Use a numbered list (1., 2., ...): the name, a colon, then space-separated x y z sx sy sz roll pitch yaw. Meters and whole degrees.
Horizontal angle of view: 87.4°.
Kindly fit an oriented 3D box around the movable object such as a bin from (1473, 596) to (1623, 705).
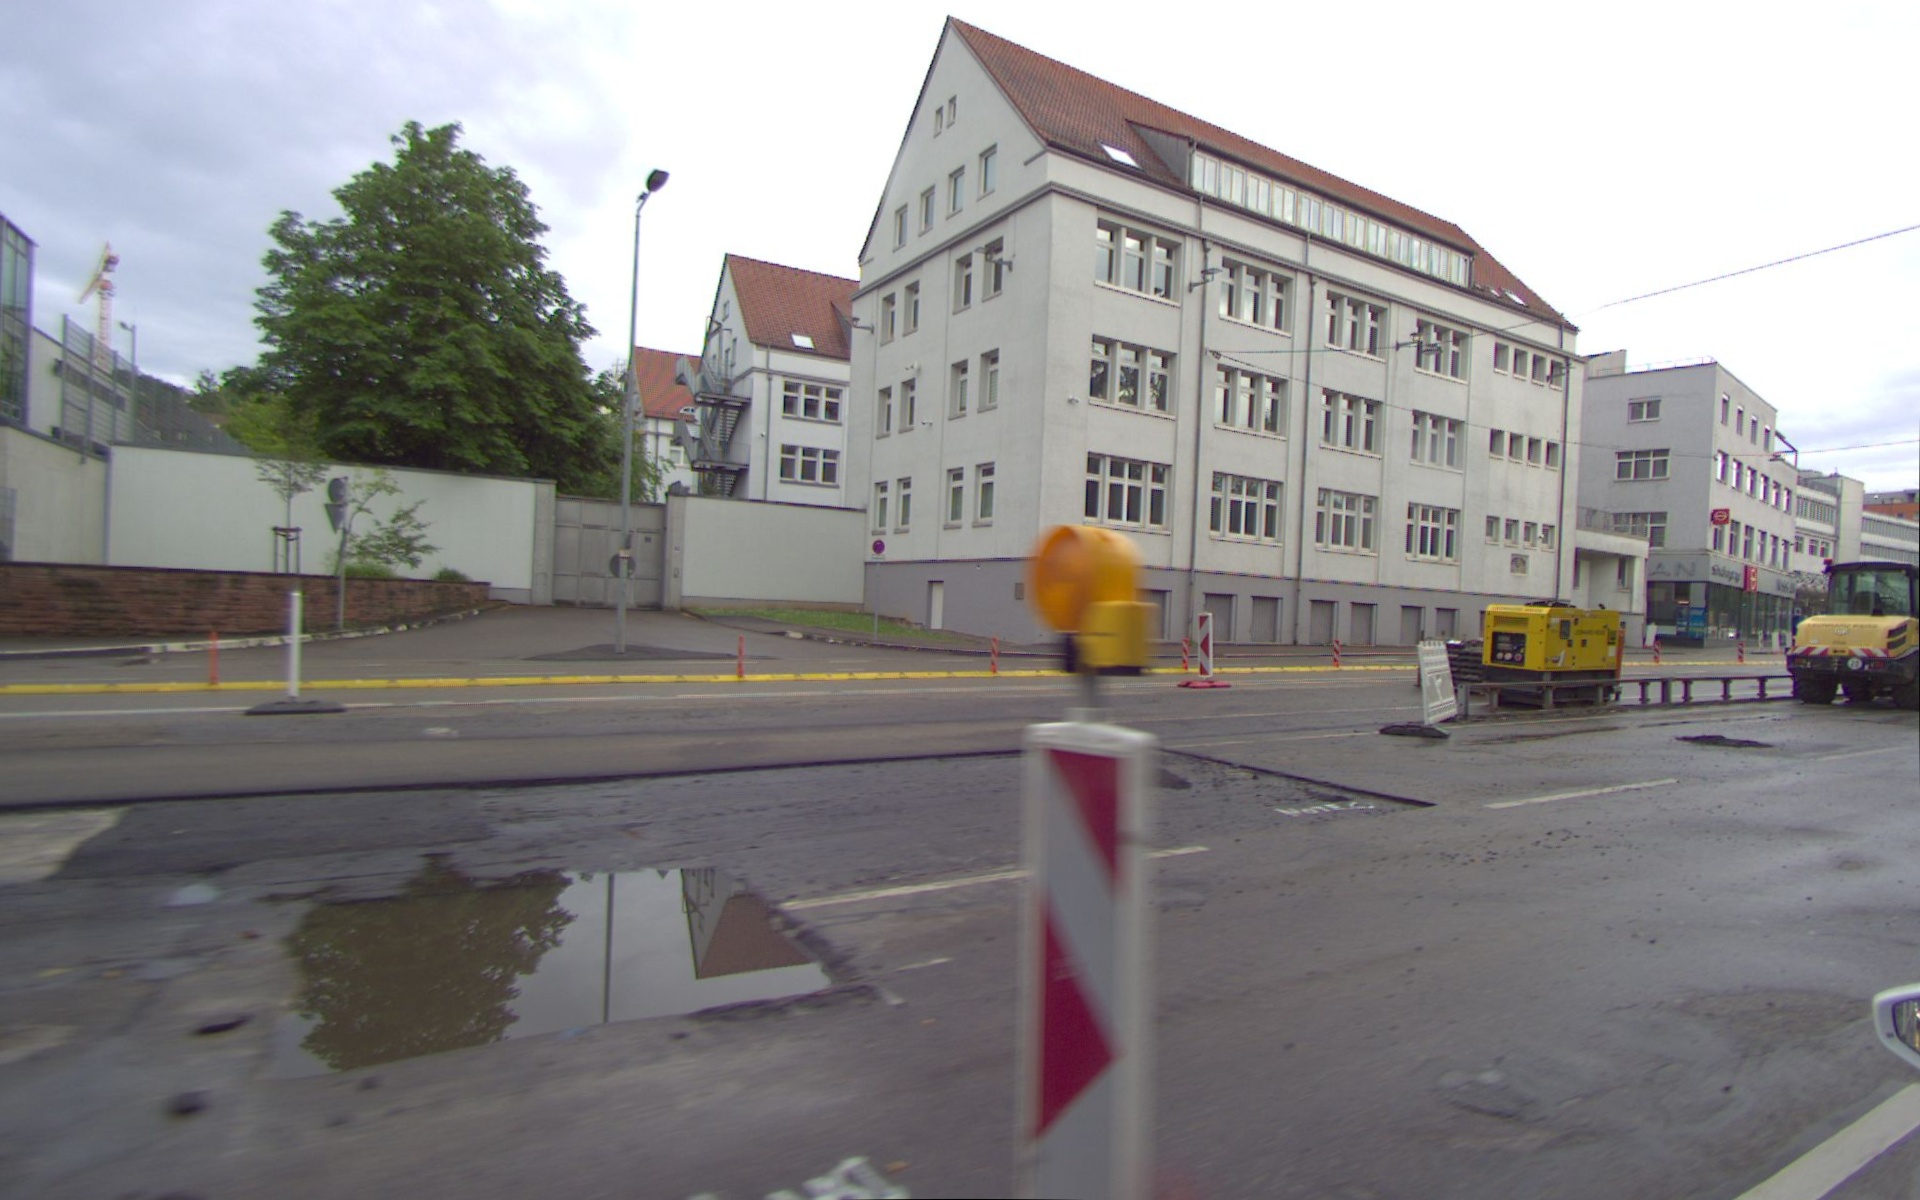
1. movable object such as a bin: 9.692 0.813 16.543 2.411 1.666 1.078 2 0 -31

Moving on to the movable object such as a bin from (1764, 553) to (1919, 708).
1. movable object such as a bin: 17.836 0.583 19.358 5.321 2.644 1.893 2 0 -31

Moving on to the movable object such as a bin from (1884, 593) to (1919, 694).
1. movable object such as a bin: 22.441 0.982 22.363 4.972 2.118 1.356 2 0 -31
